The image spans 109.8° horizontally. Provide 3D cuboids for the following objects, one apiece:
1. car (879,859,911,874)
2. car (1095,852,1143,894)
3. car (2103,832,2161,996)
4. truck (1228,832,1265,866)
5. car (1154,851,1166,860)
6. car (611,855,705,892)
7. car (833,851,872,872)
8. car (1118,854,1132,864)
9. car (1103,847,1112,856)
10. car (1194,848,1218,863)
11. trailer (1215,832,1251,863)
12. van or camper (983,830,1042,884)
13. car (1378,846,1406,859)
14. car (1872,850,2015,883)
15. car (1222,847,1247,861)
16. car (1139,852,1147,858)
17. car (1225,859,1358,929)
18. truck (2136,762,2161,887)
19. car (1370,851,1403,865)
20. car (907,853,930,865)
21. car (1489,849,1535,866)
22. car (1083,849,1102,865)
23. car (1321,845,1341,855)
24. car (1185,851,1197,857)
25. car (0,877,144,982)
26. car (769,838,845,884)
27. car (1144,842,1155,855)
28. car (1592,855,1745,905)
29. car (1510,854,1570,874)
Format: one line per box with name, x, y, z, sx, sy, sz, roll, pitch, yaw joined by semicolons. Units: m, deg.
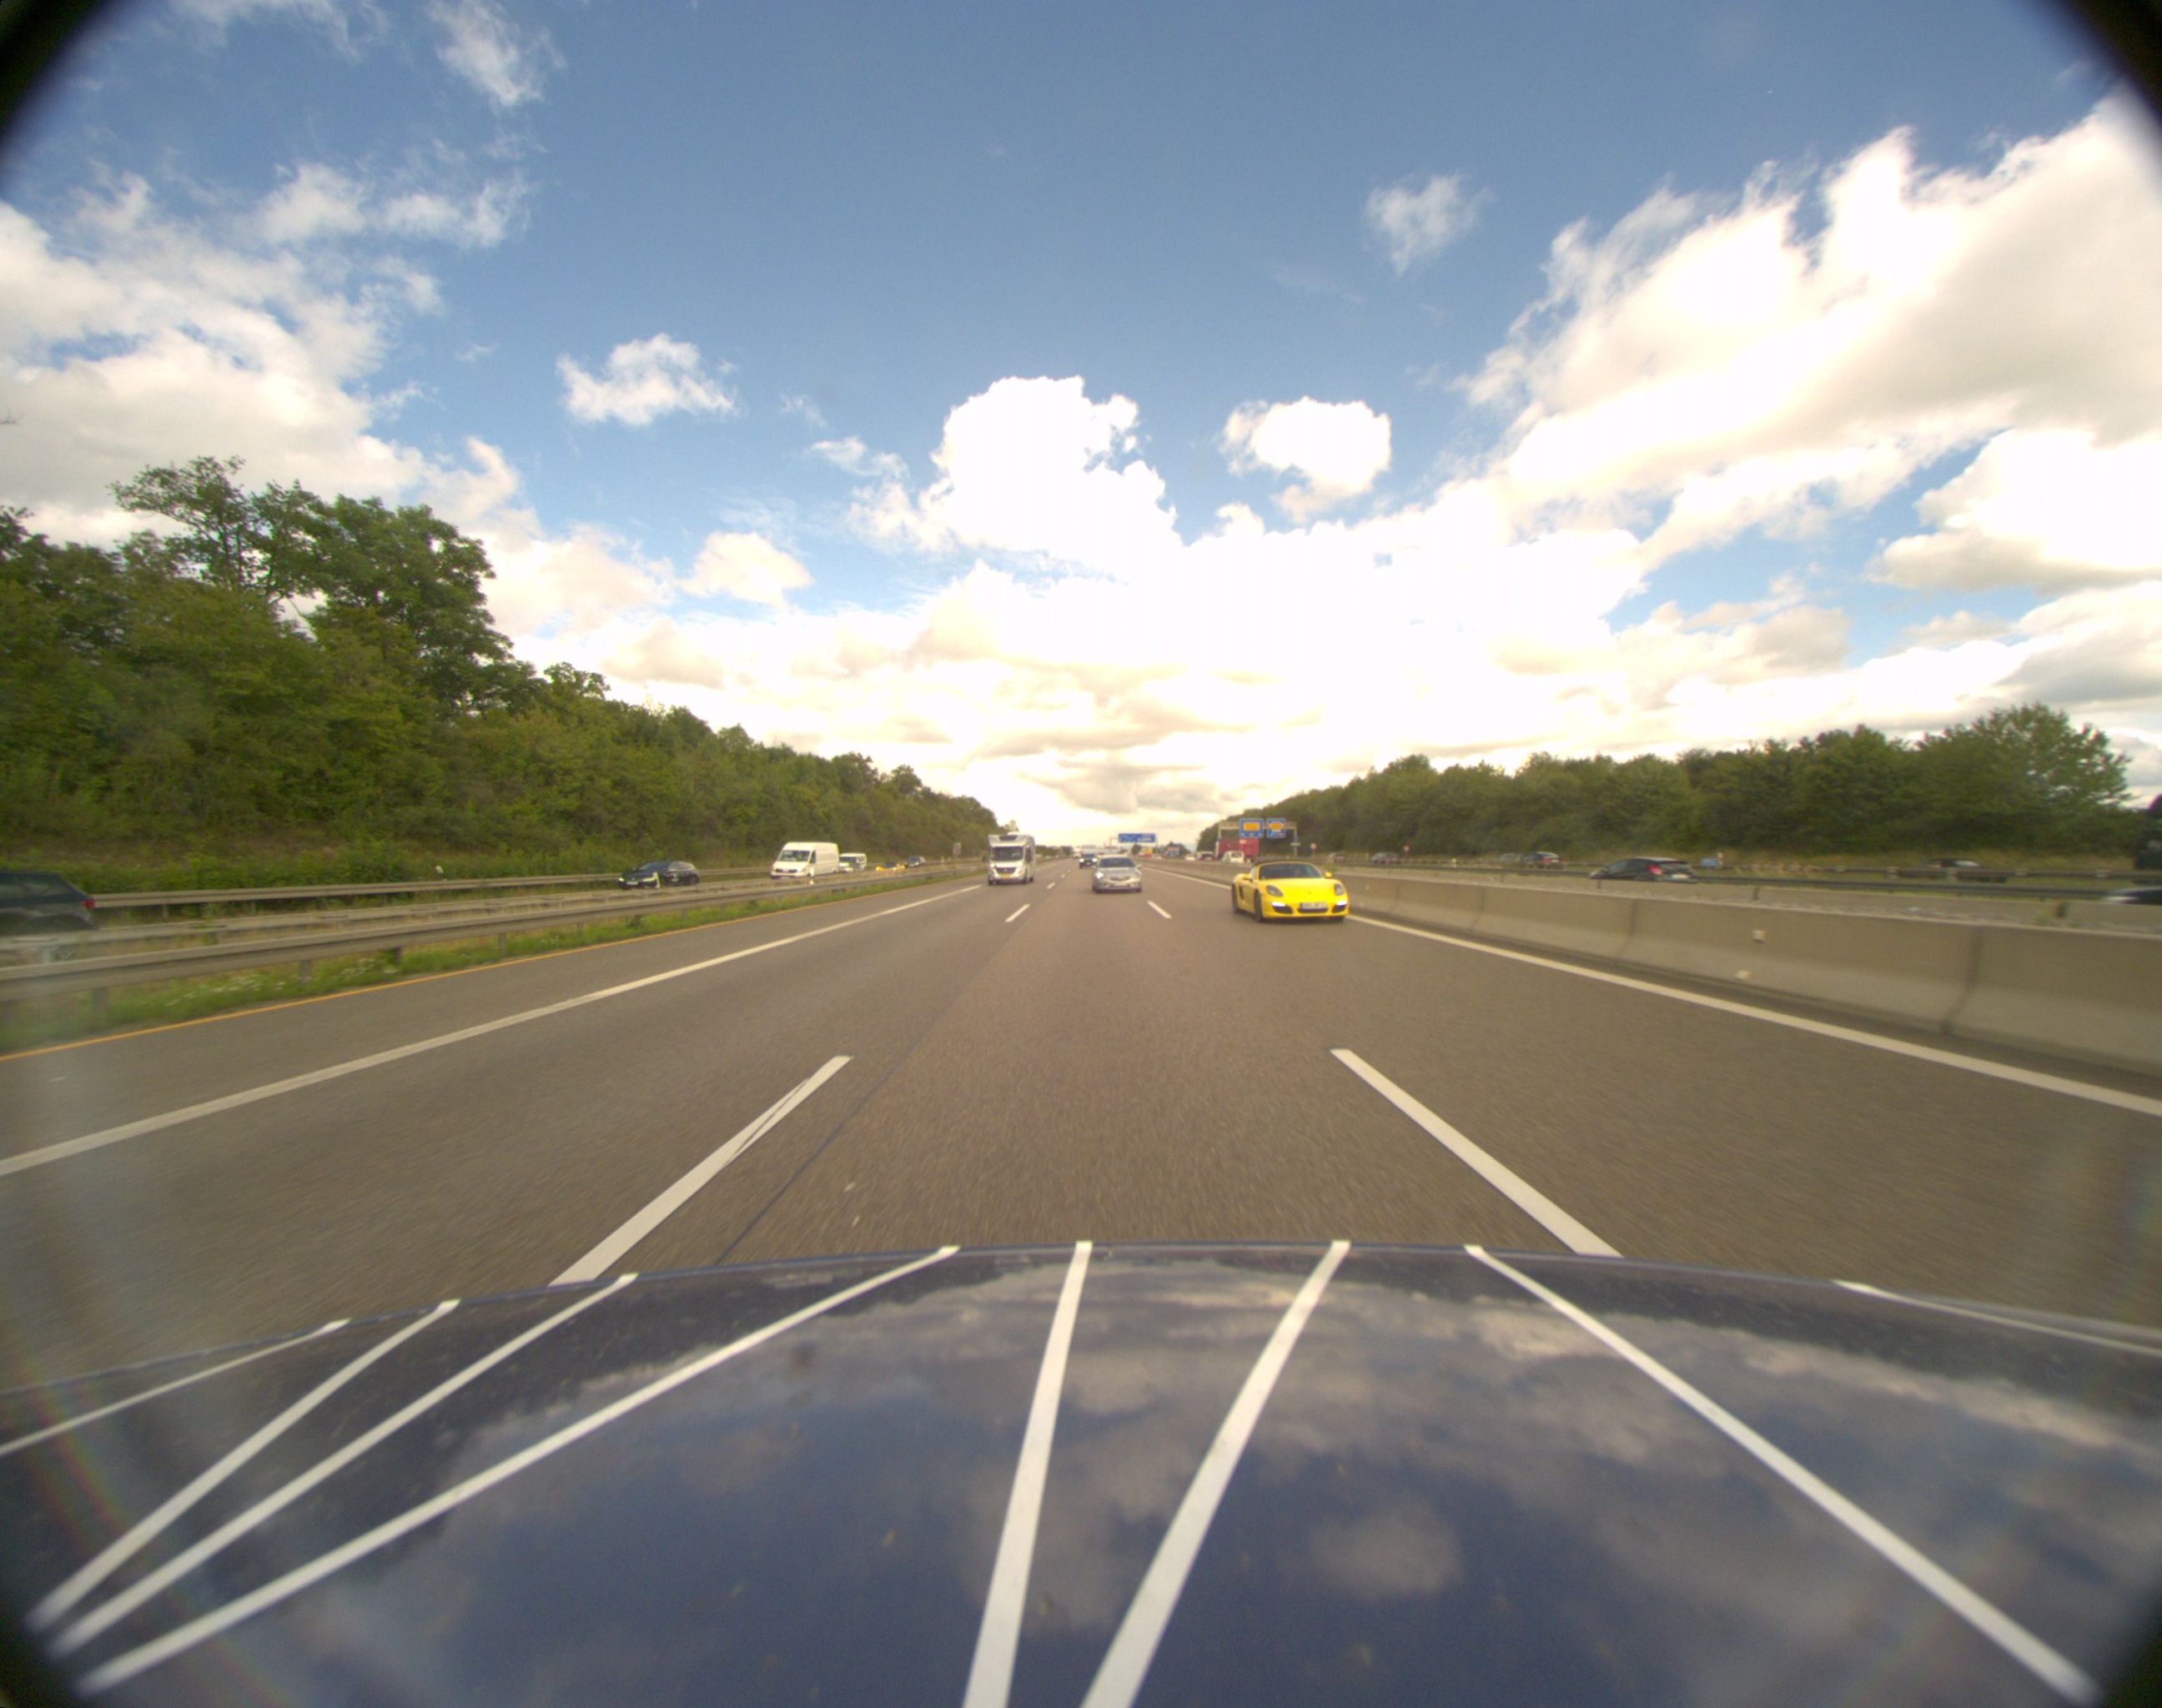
car;-15.998;1.042;65.515;1.716;1.175;4.168;-2;0;0
car;1.456;0.692;30.365;1.687;1.476;4.615;-1;0;0
car;12.271;0.622;6.117;1.768;1.721;4.702;-2;0;1
truck;21.841;-0.608;100.828;3.054;4.264;8.588;-1;0;0
car;15.032;0.270;144.499;1.692;1.496;4.643;-1;0;0
car;-20.156;0.881;36.495;1.848;1.593;4.764;1;0;0
car;-19.728;0.624;65.866;1.848;1.741;4.764;-2;0;1
car;5.851;0.691;100.612;1.593;1.307;3.978;1;0;0
car;5.918;-0.640;170.556;1.998;2.002;4.589;-1;0;1
car;13.508;0.119;82.463;1.768;1.523;4.942;-1;0;1
trailer;21.870;-0.954;109.920;3.054;4.264;10.654;-1;0;0
van or camper;-3.763;0.145;43.522;2.475;2.706;7.661;-2;0;1
car;39.153;-0.163;95.791;1.768;1.523;4.273;-2;0;1
car;37.553;0.513;33.250;1.613;1.305;4.112;-1;0;1
car;17.182;-0.037;85.448;1.768;1.523;4.941;-1;0;0
car;15.500;0.209;188.999;1.761;1.394;4.074;-1;0;1
car;4.508;0.793;16.934;1.811;1.307;4.247;1;0;0
truck;41.580;-1.106;26.325;3.053;4.632;5.072;-1;1;2
car;34.831;0.458;86.738;1.768;1.523;4.941;-1;0;0
car;-19.540;0.570;91.381;1.716;1.407;4.169;-1;0;1
car;42.160;0.286;74.428;1.751;1.556;4.804;-1;0;-1
car;1.208;0.326;81.175;1.876;1.626;4.859;-1;0;1
car;39.052;-0.633;118.677;1.733;1.525;4.452;-1;1;0
car;21.381;0.041;147.879;1.659;1.186;4.130;-1;0;0
car;-17.017;1.153;10.771;1.848;1.476;4.525;1;0;1
car;-16.447;0.385;46.067;2.075;2.539;6.742;0;0;1
car;24.423;-1.898;271.350;2.913;4.300;14.144;-1;0;1
car;20.426;0.837;26.719;1.768;1.523;4.716;-1;0;0
car;33.971;0.717;56.409;1.719;1.401;4.520;-1;0;0
